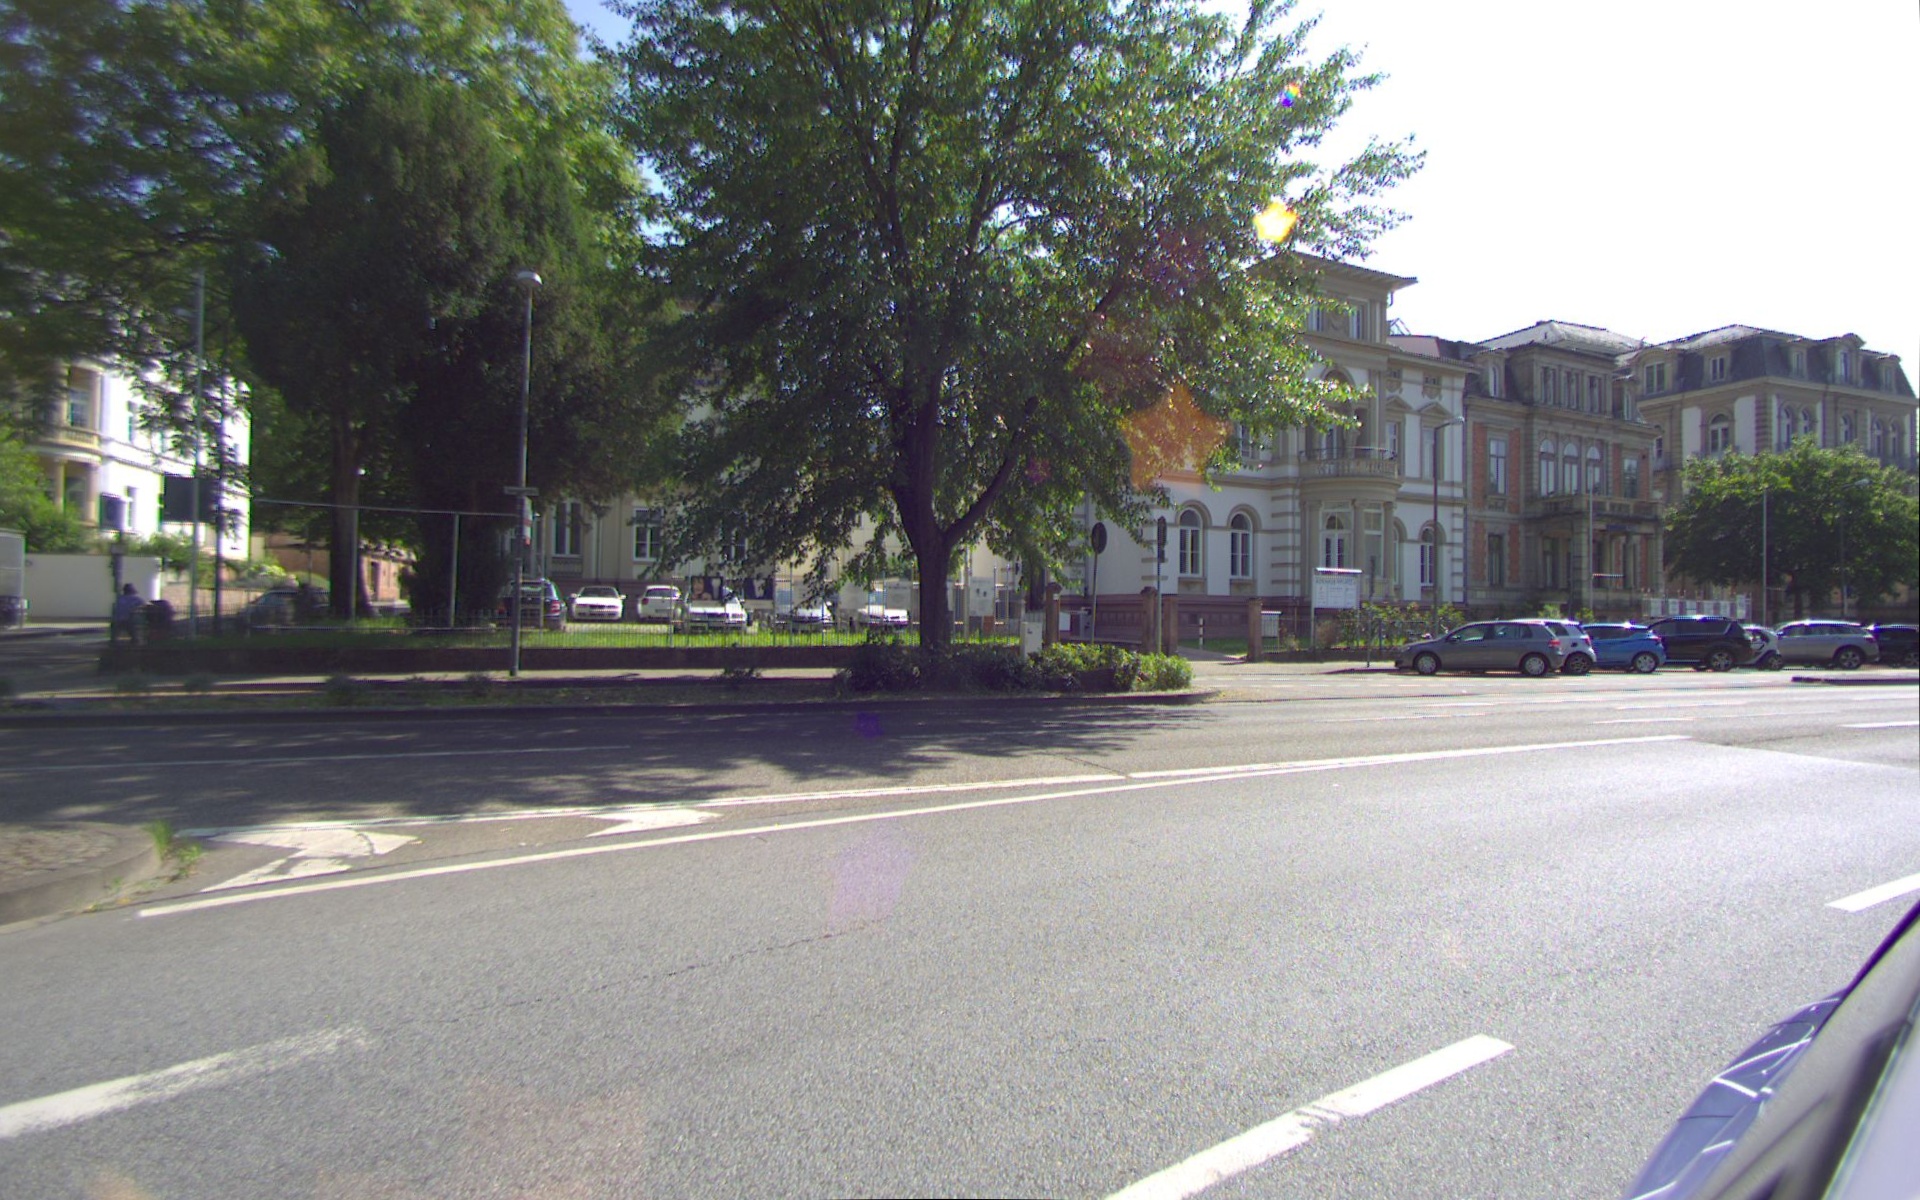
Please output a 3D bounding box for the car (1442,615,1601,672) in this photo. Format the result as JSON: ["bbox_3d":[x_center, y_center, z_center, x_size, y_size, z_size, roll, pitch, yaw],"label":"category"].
[{"bbox_3d":[15.923,1.209,28.928,3.767,1.531,1.700,0,-2,23],"label":"car"}]

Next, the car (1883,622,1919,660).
[{"bbox_3d":[38.596,1.597,39.317,3.663,1.436,1.733,0,-2,26],"label":"car"}]

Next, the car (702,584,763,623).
[{"bbox_3d":[-8.872,0.134,39.219,1.783,1.437,4.070,1,0,-20],"label":"car"}]

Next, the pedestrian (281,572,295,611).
[{"bbox_3d":[-35.450,-0.459,53.387,0.483,2.039,0.580,1,-1,-23],"label":"pedestrian"}]

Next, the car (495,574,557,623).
[{"bbox_3d":[-15.483,-0.044,36.306,1.783,1.624,4.330,1,-1,-20],"label":"car"}]

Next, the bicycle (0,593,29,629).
[{"bbox_3d":[-30.745,0.339,32.040,1.796,1.099,0.540,1,-1,-16],"label":"bicycle"}]

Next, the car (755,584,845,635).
[{"bbox_3d":[-4.638,0.263,28.912,1.783,1.353,4.106,1,0,-20],"label":"car"}]

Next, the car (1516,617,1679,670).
[{"bbox_3d":[18.881,1.259,30.164,3.763,1.461,1.702,0,-2,20],"label":"car"}]

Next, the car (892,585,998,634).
[{"bbox_3d":[-0.537,0.285,30.432,1.949,1.353,4.061,1,0,-20],"label":"car"}]

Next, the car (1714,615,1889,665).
[{"bbox_3d":[28.924,1.348,34.945,4.265,1.650,1.701,0,-2,22],"label":"car"}]

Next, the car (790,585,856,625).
[{"bbox_3d":[-5.644,0.194,41.251,1.826,1.529,4.070,1,-1,-20],"label":"car"}]

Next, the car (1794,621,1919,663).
[{"bbox_3d":[32.623,1.489,36.349,3.782,1.435,1.591,0,-2,26],"label":"car"}]

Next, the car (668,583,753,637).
[{"bbox_3d":[-6.961,0.266,27.936,1.783,1.353,4.489,1,0,-20],"label":"car"}]

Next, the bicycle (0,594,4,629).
[{"bbox_3d":[-30.415,0.339,30.847,1.796,1.099,0.540,1,-1,-16],"label":"bicycle"}]

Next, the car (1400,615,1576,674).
[{"bbox_3d":[14.091,1.157,27.255,4.066,1.480,1.811,0,-2,26],"label":"car"}]

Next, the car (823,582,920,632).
[{"bbox_3d":[-2.663,0.214,29.651,1.821,1.353,4.061,1,0,-20],"label":"car"}]

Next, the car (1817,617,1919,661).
[{"bbox_3d":[35.336,1.470,38.476,3.838,1.595,1.734,0,-2,26],"label":"car"}]

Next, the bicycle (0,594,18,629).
[{"bbox_3d":[-30.547,0.339,31.439,1.796,1.099,0.540,1,-1,-16],"label":"bicycle"}]

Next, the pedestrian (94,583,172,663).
[{"bbox_3d":[-17.108,0.463,20.966,0.726,1.601,1.124,0,0,-5],"label":"pedestrian"}]

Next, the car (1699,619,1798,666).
[{"bbox_3d":[25.883,1.385,33.289,2.257,1.502,1.195,0,-2,16],"label":"car"}]

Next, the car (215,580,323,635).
[{"bbox_3d":[-22.879,0.236,33.667,1.795,1.667,4.142,1,0,-17],"label":"car"}]

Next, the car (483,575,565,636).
[{"bbox_3d":[-11.540,0.155,26.927,1.838,1.494,4.164,1,-1,-22],"label":"car"}]

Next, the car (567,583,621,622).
[{"bbox_3d":[-13.570,0.086,37.553,1.783,1.353,4.061,1,0,-20],"label":"car"}]

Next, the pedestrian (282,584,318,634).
[{"bbox_3d":[-20.673,0.279,31.712,0.754,1.566,0.668,1,-1,-16],"label":"pedestrian"}]

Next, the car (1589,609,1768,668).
[{"bbox_3d":[22.412,1.175,31.758,4.220,1.718,1.702,0,-2,20],"label":"car"}]

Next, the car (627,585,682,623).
[{"bbox_3d":[-11.676,0.158,38.516,1.783,1.353,4.097,1,0,-20],"label":"car"}]
